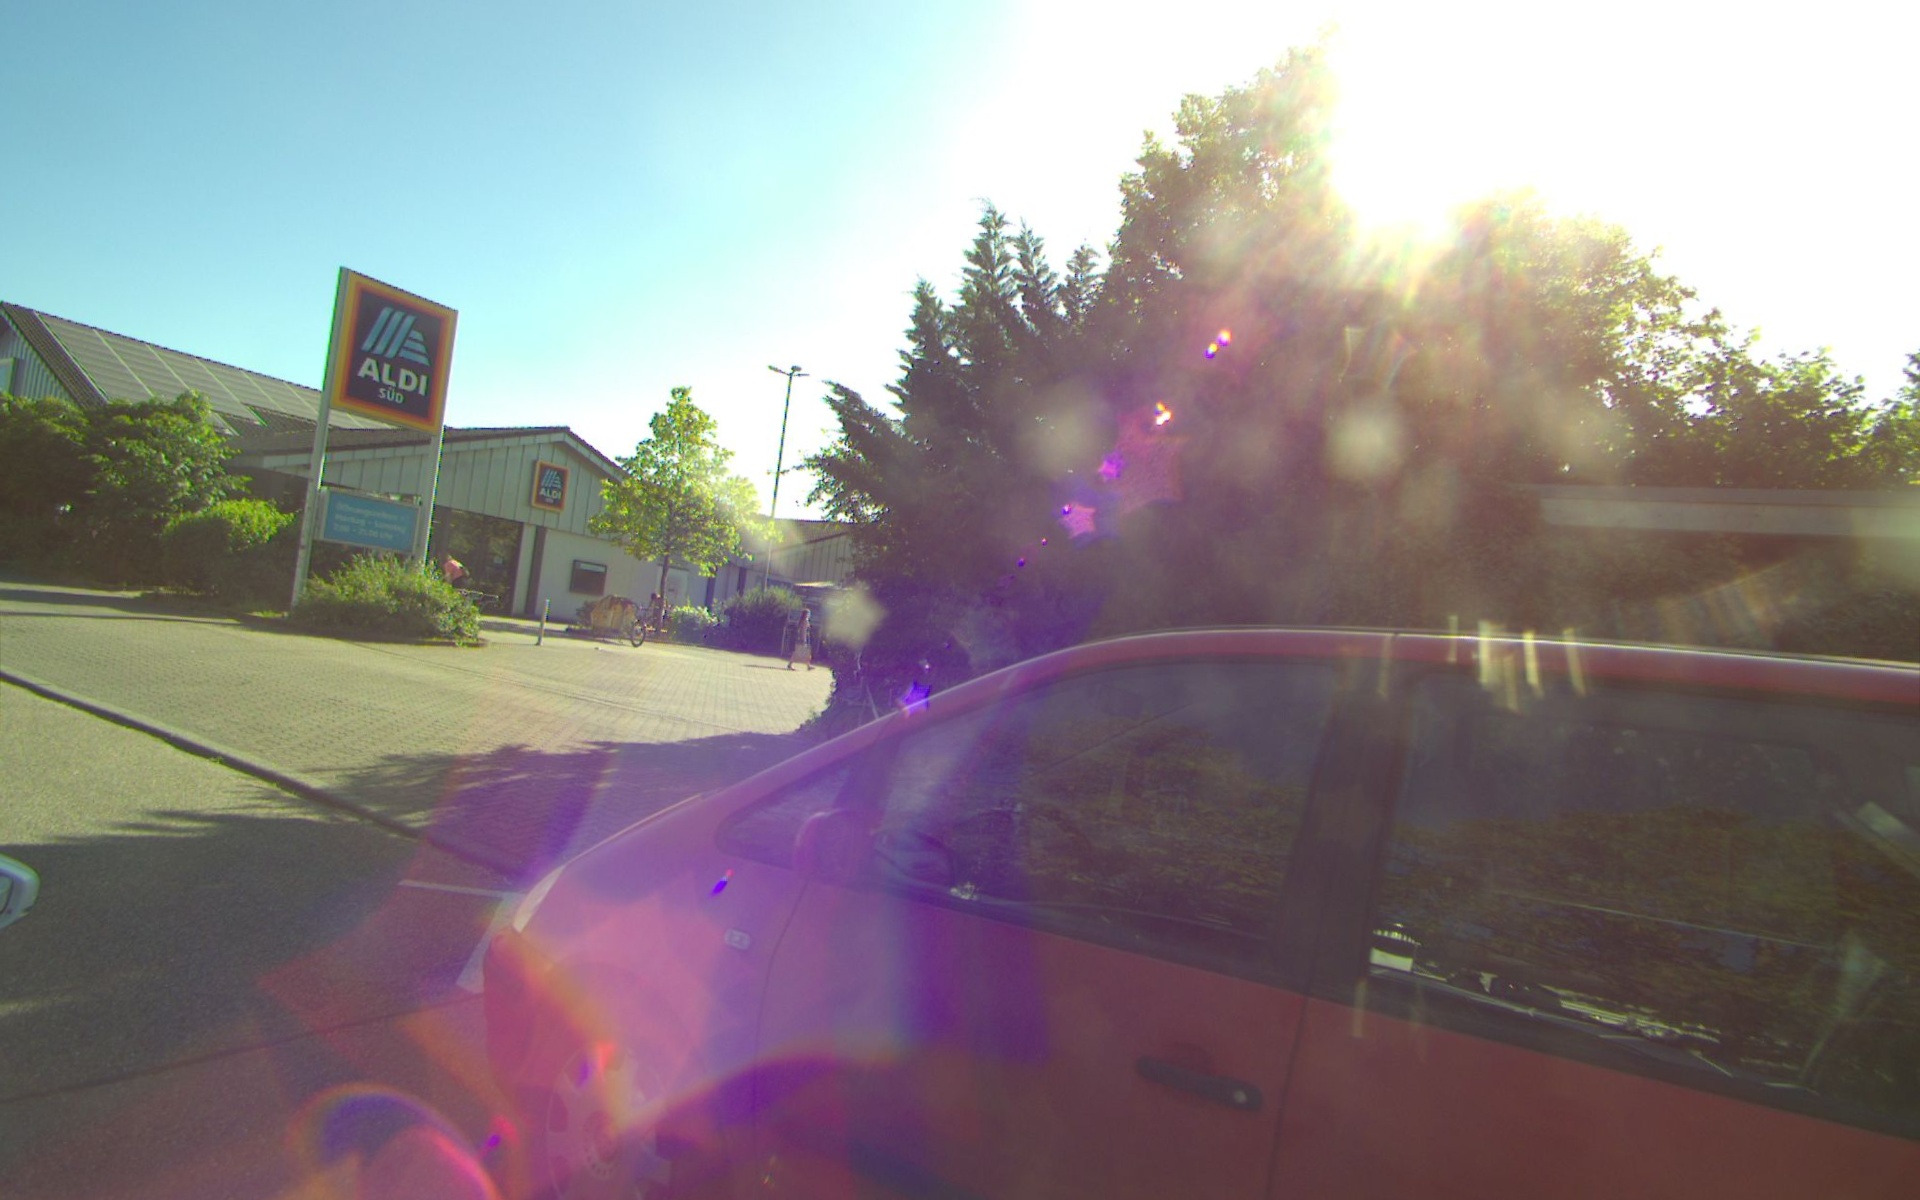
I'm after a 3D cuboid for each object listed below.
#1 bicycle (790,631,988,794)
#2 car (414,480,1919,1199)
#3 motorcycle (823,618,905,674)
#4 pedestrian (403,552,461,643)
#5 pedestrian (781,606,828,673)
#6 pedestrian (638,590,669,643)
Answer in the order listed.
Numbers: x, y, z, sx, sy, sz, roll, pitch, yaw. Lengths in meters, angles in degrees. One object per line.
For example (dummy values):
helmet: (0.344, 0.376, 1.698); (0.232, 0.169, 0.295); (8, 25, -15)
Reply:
bicycle: (-0.697, 0.983, 9.235); (0.718, 1.235, 1.874); (6, -2, -42)
car: (1.082, 0.899, 2.172); (4.578, 1.826, 1.843); (6, -2, 33)
motorcycle: (-3.234, 1.550, 33.788); (2.555, 1.526, 0.871); (6, -2, 32)
pedestrian: (-10.261, -0.054, 19.550); (0.688, 1.650, 0.769); (8, -2, -37)
pedestrian: (-4.214, 1.067, 27.196); (0.814, 1.675, 0.673); (7, -1, 31)
pedestrian: (-10.022, 0.553, 32.942); (0.682, 1.636, 0.775); (8, -1, -12)
